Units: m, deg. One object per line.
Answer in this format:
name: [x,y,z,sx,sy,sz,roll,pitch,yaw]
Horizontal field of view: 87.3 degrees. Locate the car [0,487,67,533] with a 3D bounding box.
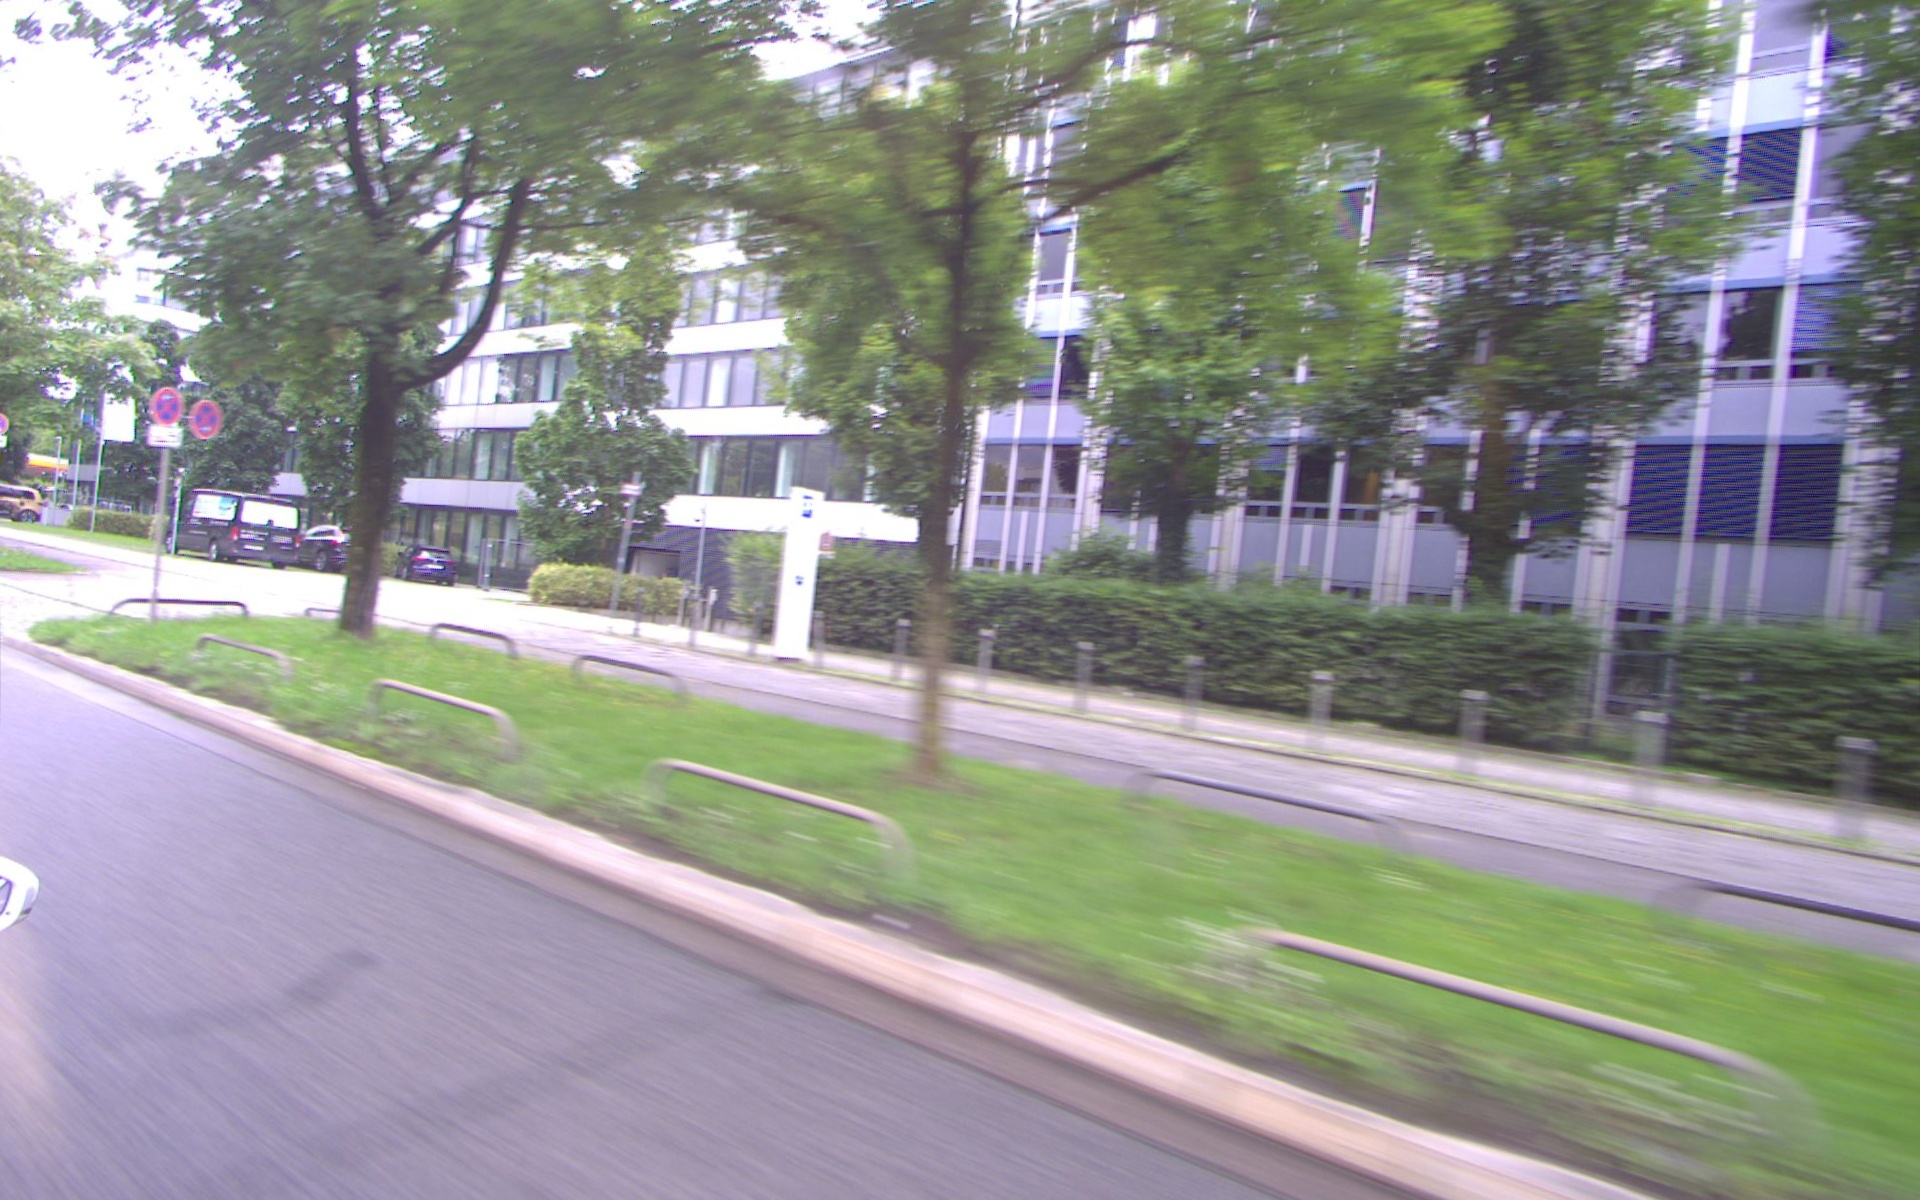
car: [-52.648,-5.115,54.857,2.112,2.109,5.474,6,-1,33]

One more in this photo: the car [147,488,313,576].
car: [-24.304,-2.292,33.409,6.166,2.335,2.266,6,0,33]

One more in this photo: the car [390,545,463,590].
car: [-20.595,-1.279,38.765,1.773,1.390,3.925,7,-1,-37]

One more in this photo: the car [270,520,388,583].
car: [-22.931,-1.779,36.531,4.399,1.841,1.843,6,0,33]
